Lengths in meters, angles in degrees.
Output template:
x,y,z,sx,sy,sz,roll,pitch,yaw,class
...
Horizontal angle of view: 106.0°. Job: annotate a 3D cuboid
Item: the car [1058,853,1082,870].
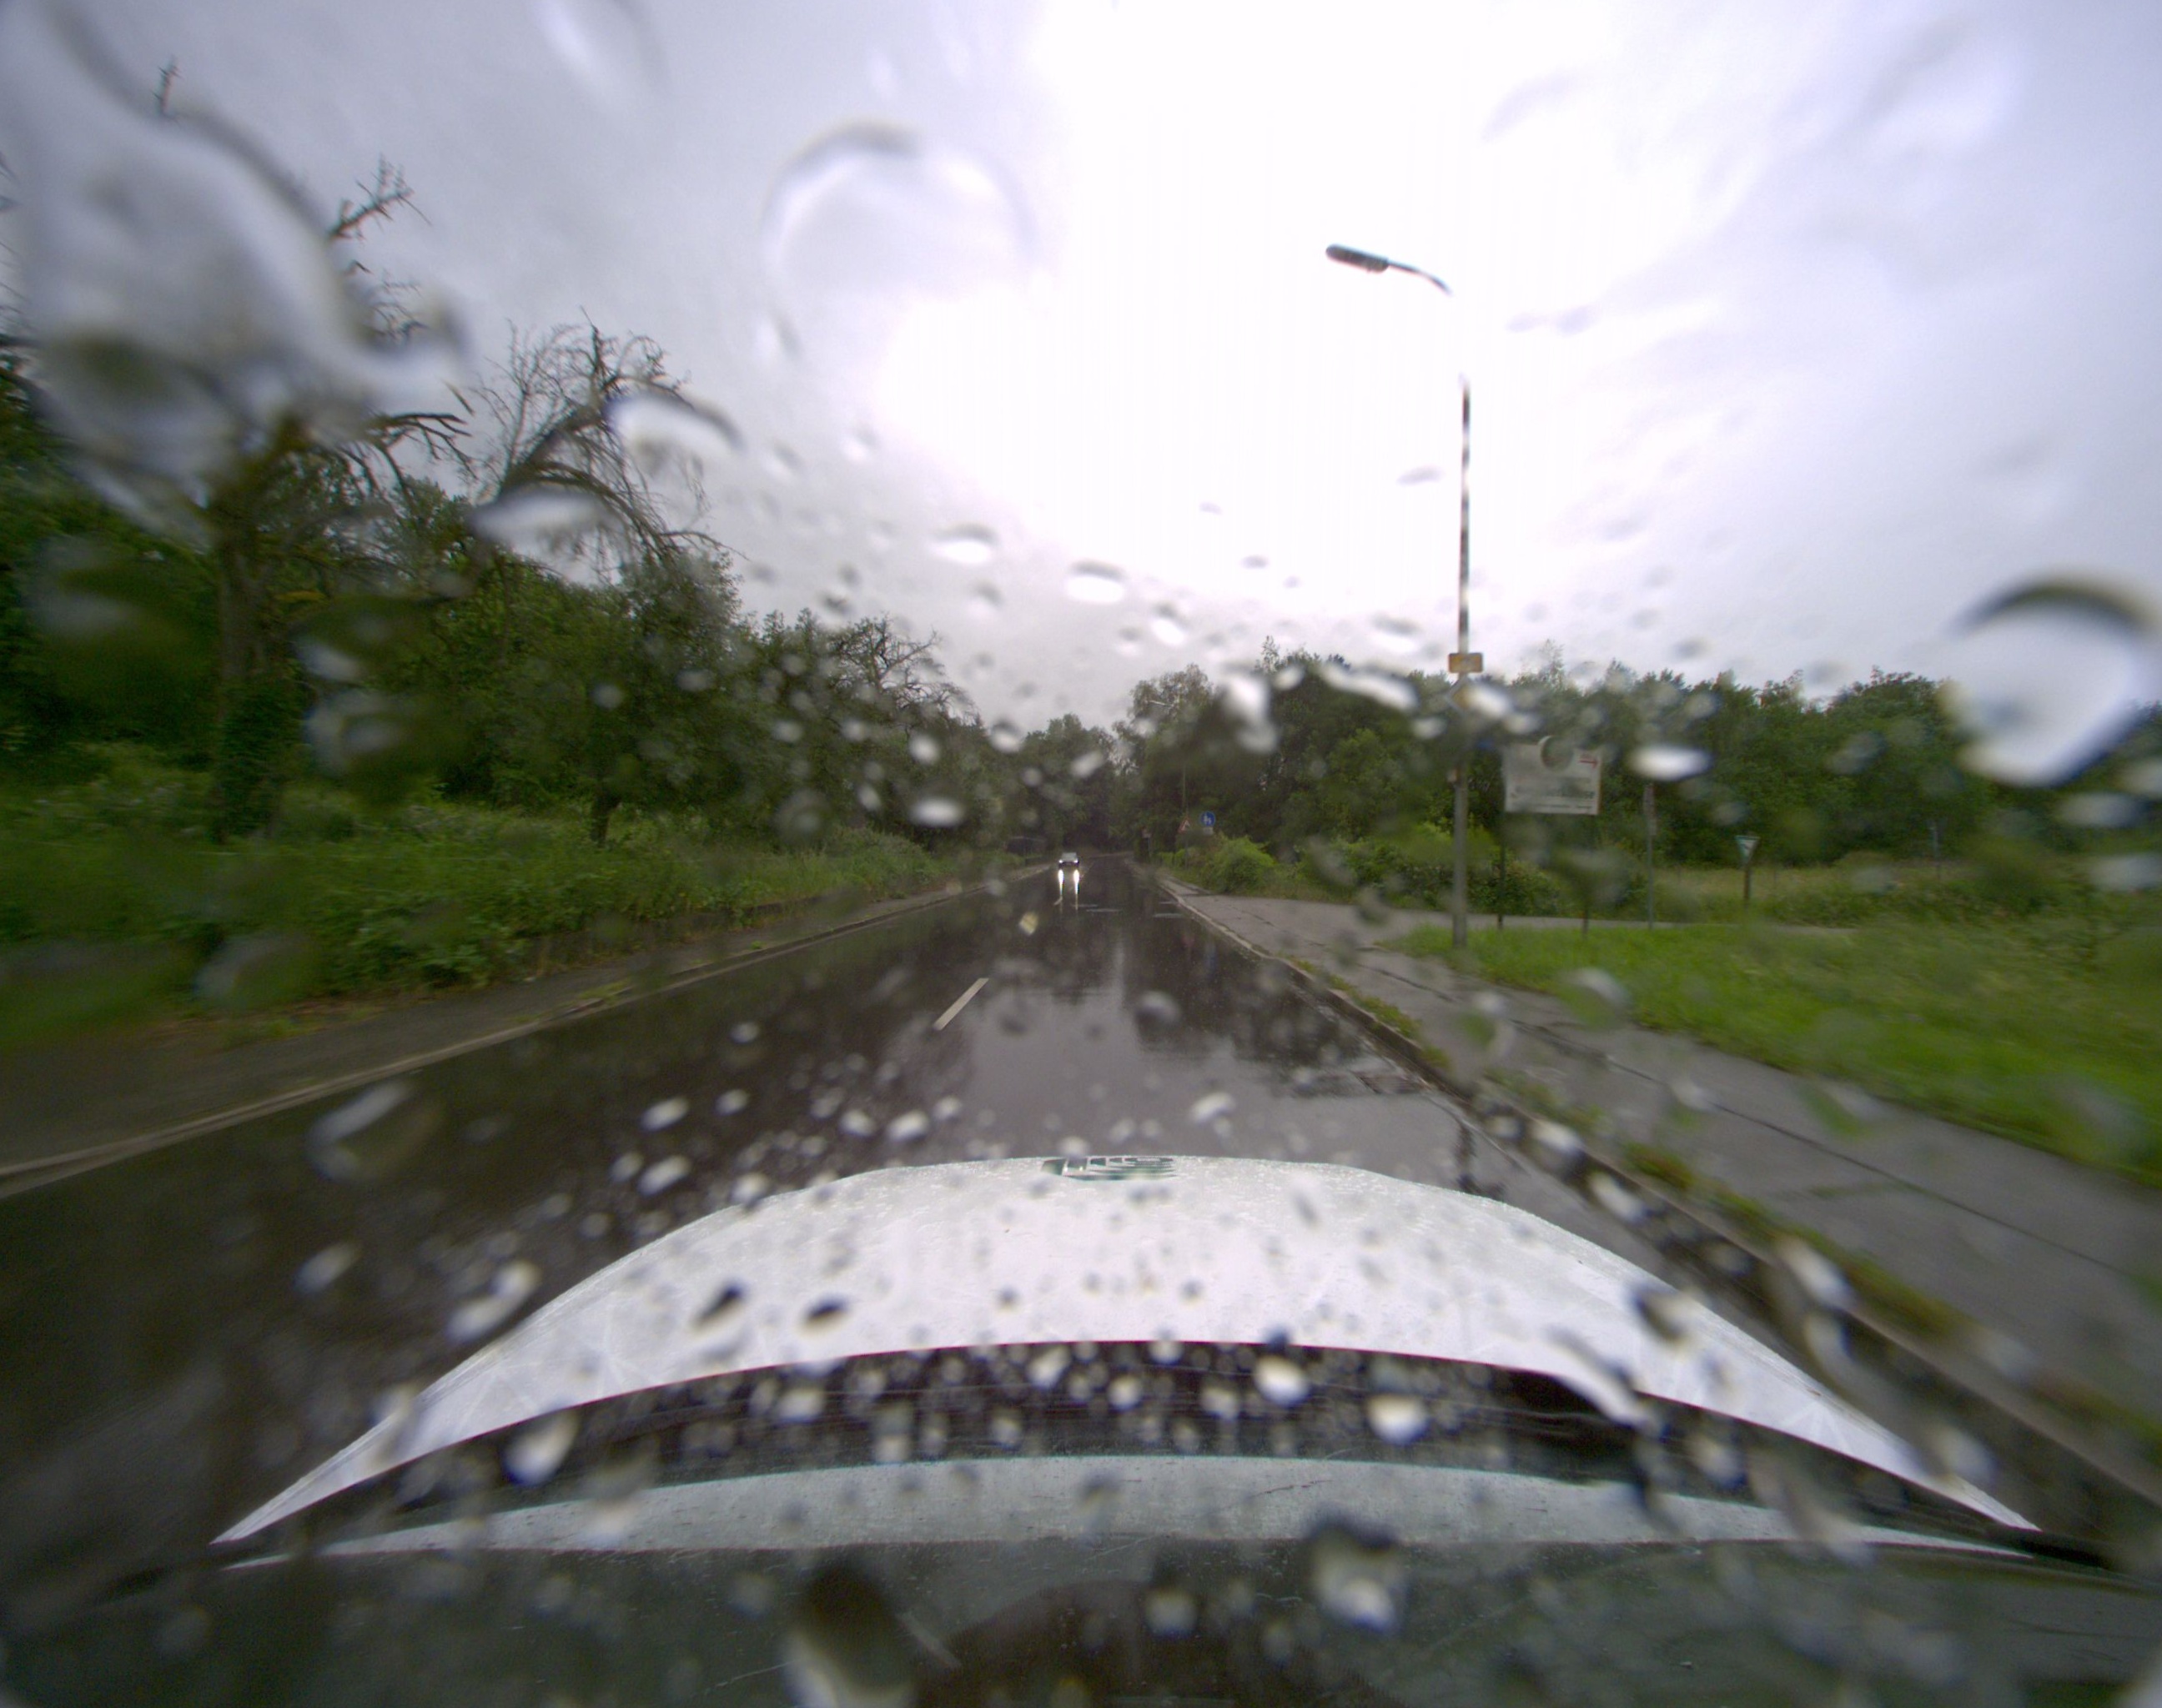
x,y,z,sx,sy,sz,roll,pitch,yaw,class
-0.974,0.669,75.393,1.986,1.454,4.430,0,1,2,car
